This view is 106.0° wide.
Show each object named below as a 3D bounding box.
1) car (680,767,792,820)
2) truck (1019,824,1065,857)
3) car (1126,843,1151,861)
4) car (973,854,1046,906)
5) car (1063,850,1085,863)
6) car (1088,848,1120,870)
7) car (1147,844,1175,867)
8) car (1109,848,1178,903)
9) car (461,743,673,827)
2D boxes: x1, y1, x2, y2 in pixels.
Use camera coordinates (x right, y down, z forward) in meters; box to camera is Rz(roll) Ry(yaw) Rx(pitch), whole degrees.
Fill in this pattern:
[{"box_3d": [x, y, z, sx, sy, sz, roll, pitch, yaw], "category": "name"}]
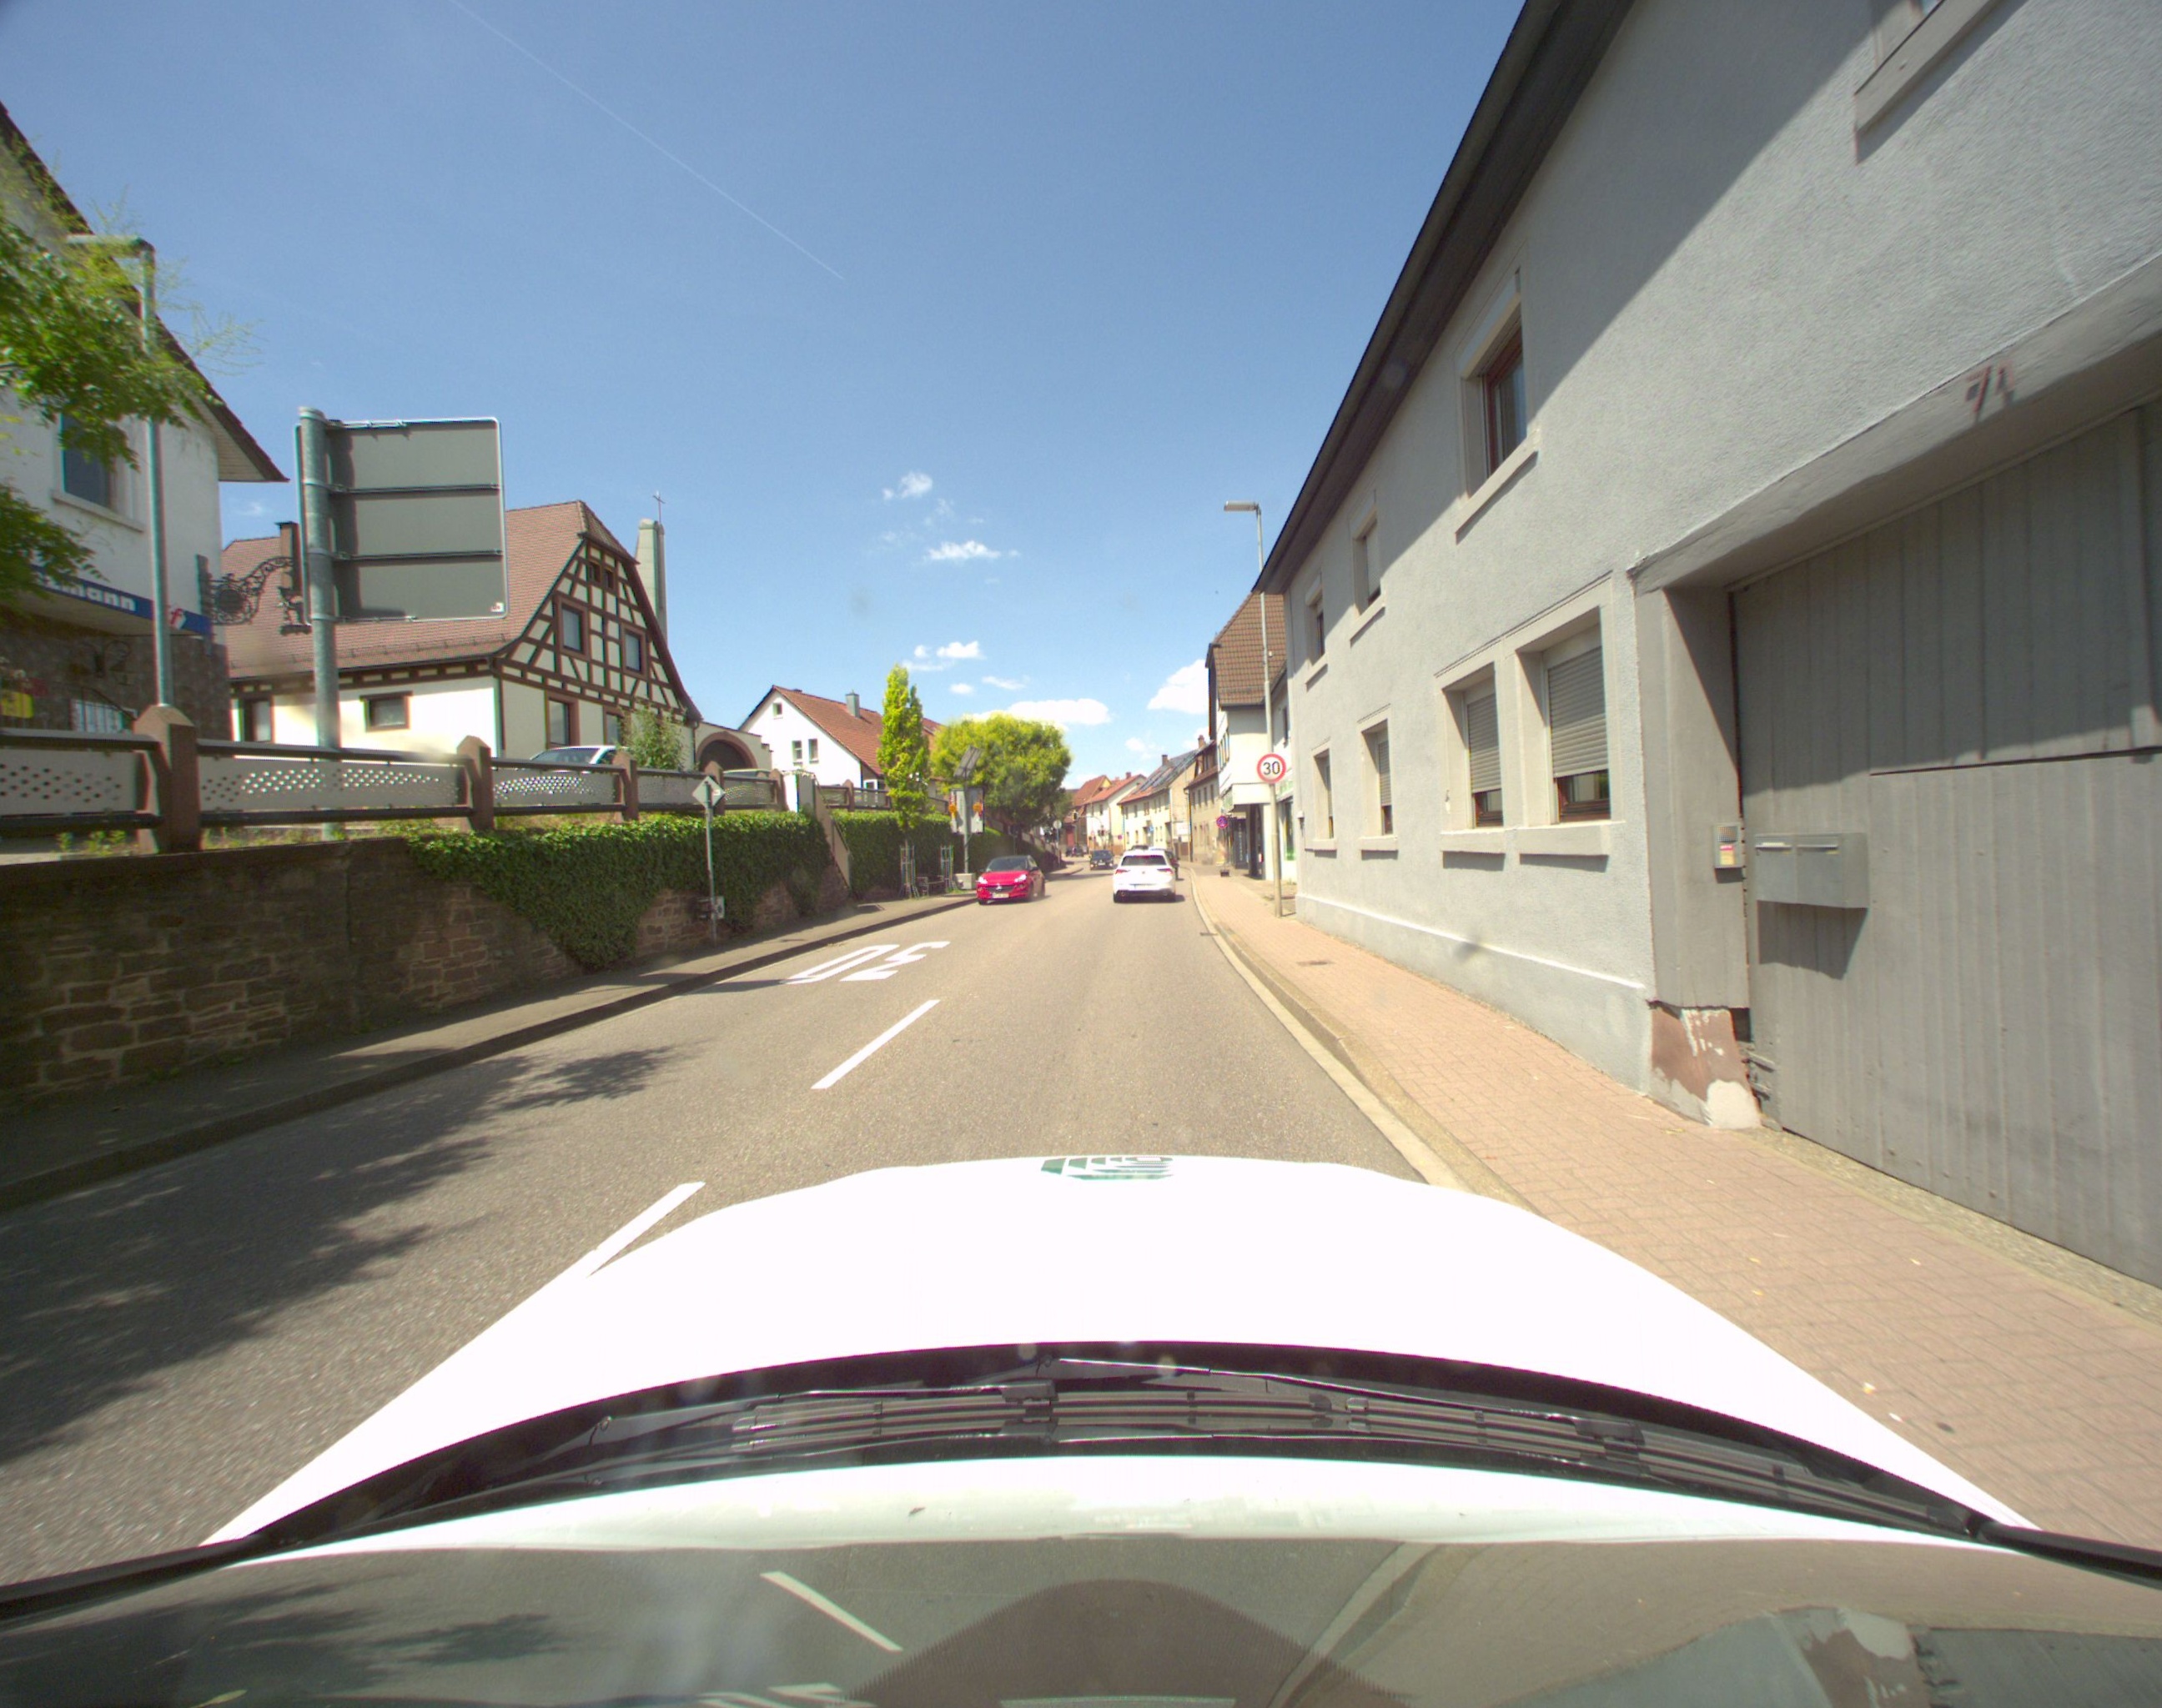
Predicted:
[{"box_3d": [-9.847, -1.819, 23.573, 1.572, 1.361, 3.856, -2, 6, -1], "category": "car"}, {"box_3d": [-5.182, -1.649, 105.482, 2.658, 4.028, 9.115, -2, 0, -25], "category": "truck"}, {"box_3d": [5.157, -0.192, 73.410, 1.772, 1.538, 3.995, -2, 0, -3], "category": "car"}, {"box_3d": [-2.215, 0.779, 26.217, 1.609, 1.444, 3.807, -4, 0, 5], "category": "car"}, {"box_3d": [-0.890, 0.319, 102.715, 1.779, 1.538, 3.979, -2, 0, -15], "category": "car"}, {"box_3d": [1.667, 0.327, 57.807, 1.784, 1.377, 4.125, -2, 0, 7], "category": "car"}, {"box_3d": [5.473, 0.109, 55.810, 1.799, 1.467, 4.006, 0, 0, 5], "category": "car"}, {"box_3d": [1.756, 0.571, 23.963, 1.801, 1.467, 4.001, 0, 0, 1], "category": "car"}, {"box_3d": [-9.633, -1.366, 15.675, 1.572, 1.361, 3.856, -2, 6, -1], "category": "car"}]
